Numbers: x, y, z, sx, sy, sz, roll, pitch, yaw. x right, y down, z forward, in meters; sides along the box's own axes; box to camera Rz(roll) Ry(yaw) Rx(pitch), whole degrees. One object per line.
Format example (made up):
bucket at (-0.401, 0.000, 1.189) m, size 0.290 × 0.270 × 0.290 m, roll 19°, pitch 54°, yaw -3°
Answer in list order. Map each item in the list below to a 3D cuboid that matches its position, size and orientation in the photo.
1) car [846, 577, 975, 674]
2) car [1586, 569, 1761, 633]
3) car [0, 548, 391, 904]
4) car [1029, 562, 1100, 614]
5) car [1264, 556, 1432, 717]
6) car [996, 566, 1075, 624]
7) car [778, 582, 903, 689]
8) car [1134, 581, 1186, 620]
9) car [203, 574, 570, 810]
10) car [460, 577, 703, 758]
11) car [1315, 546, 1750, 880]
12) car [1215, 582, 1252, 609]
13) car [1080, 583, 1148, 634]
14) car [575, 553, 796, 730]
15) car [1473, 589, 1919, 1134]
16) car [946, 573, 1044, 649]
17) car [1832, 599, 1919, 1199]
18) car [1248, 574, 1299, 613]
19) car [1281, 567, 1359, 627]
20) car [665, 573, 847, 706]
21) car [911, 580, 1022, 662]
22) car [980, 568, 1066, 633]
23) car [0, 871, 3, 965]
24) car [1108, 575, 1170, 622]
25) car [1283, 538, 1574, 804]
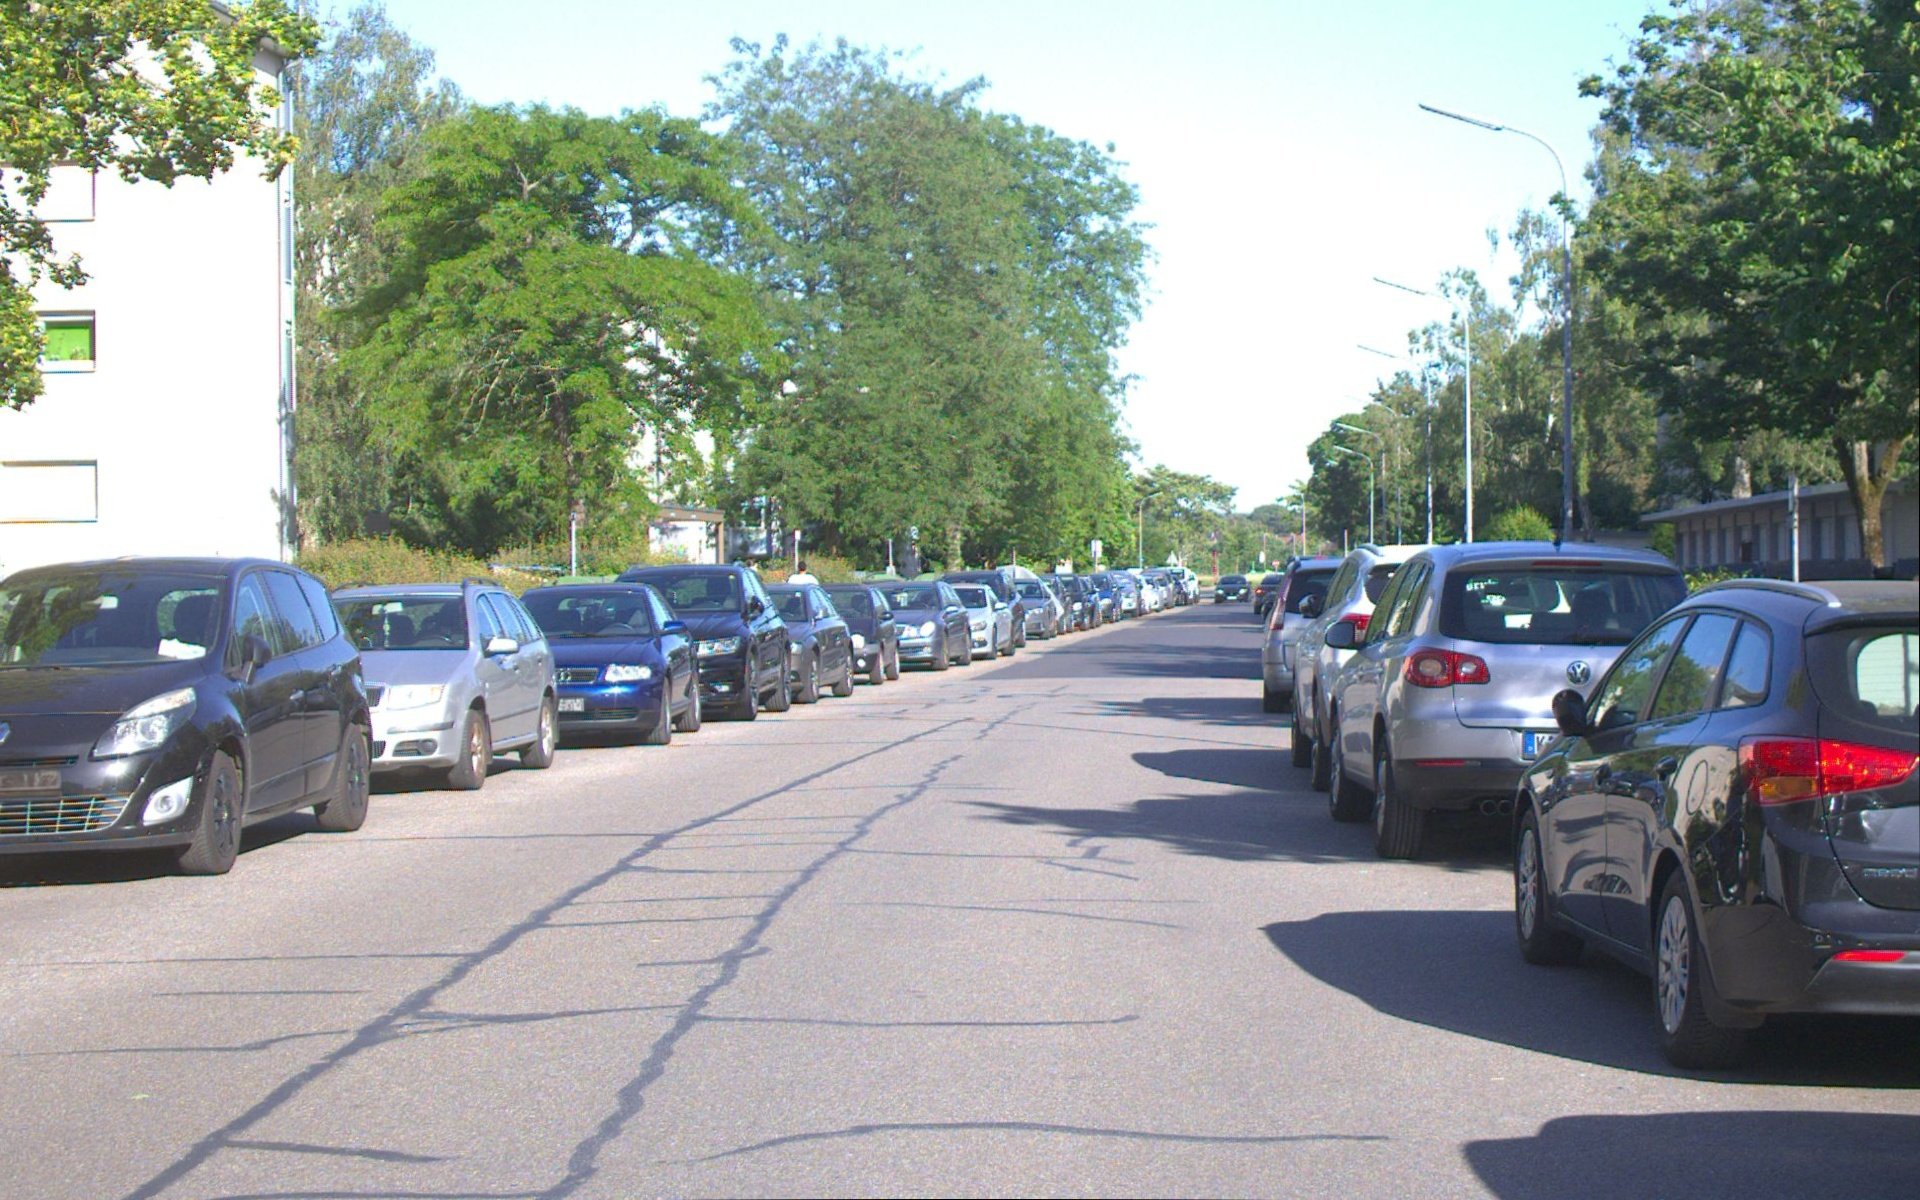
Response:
car at (-0.773, 0.387, 56.142) m, size 1.510 × 1.446 × 3.690 m, roll -2°, pitch 1°, yaw 8°
car at (18.251, 0.035, 88.060) m, size 4.220 × 1.525 × 1.829 m, roll 1°, pitch -2°, yaw 7°
car at (-4.393, 0.584, 18.501) m, size 1.670 × 1.661 × 4.406 m, roll -2°, pitch 1°, yaw 3°
car at (2.838, -0.342, 93.208) m, size 1.510 × 1.324 × 3.466 m, roll -2°, pitch 1°, yaw 8°
car at (4.165, 0.349, 37.361) m, size 1.697 × 1.636 × 4.233 m, roll 1°, pitch 1°, yaw 5°
car at (1.869, -0.139, 84.503) m, size 1.510 × 1.324 × 3.466 m, roll -2°, pitch 1°, yaw 8°
car at (-1.688, 0.486, 49.269) m, size 1.389 × 1.408 × 3.125 m, roll -2°, pitch 1°, yaw 5°
car at (8.343, 0.025, 143.178) m, size 1.825 × 1.461 × 4.232 m, roll 1°, pitch 2°, yaw 7°
car at (-4.039, 0.596, 24.832) m, size 1.660 × 1.481 × 4.052 m, roll -2°, pitch 1°, yaw 4°
car at (-3.308, 0.550, 30.676) m, size 1.660 × 1.421 × 4.049 m, roll -2°, pitch 1°, yaw 0°
car at (3.004, 0.526, 18.860) m, size 1.729 × 1.613 × 4.233 m, roll 1°, pitch 1°, yaw 1°
car at (14.944, -0.250, 187.589) m, size 1.945 × 1.285 × 4.233 m, roll 1°, pitch 2°, yaw 5°
car at (4.959, 0.266, 110.156) m, size 1.825 × 1.461 × 4.232 m, roll 1°, pitch 2°, yaw 7°
car at (-2.815, 0.383, 36.033) m, size 1.660 × 1.682 × 4.049 m, roll -2°, pitch 1°, yaw 4°
car at (2.935, 0.723, 11.566) m, size 1.681 × 1.451 × 4.292 m, roll 1°, pitch 1°, yaw -1°
car at (0.739, 0.203, 70.141) m, size 1.510 × 1.429 × 3.466 m, roll -2°, pitch 1°, yaw 8°
car at (2.961, 0.778, 6.318) m, size 1.684 × 1.482 × 3.824 m, roll 2°, pitch 0°, yaw 0°
car at (11.690, -0.248, 128.065) m, size 1.824 × 1.320 × 4.233 m, roll 1°, pitch 2°, yaw 5°
car at (8.879, -0.091, 85.061) m, size 1.824 × 1.461 × 4.233 m, roll 0°, pitch 0°, yaw 5°
car at (-2.400, 0.442, 41.316) m, size 1.660 × 1.434 × 3.759 m, roll -2°, pitch 1°, yaw 4°
car at (0.143, 0.356, 62.441) m, size 1.510 × 1.359 × 3.466 m, roll -2°, pitch 1°, yaw 8°
car at (1.457, -0.002, 78.520) m, size 1.510 × 1.377 × 3.466 m, roll -2°, pitch 1°, yaw 8°
car at (-4.732, 0.786, 11.741) m, size 1.670 × 1.416 × 3.901 m, roll -2°, pitch 1°, yaw 2°
car at (6.281, -0.065, 120.289) m, size 1.825 × 1.461 × 4.232 m, roll 1°, pitch 2°, yaw 7°
car at (3.207, 0.432, 24.224) m, size 1.653 × 1.693 × 4.233 m, roll 1°, pitch 1°, yaw 3°
